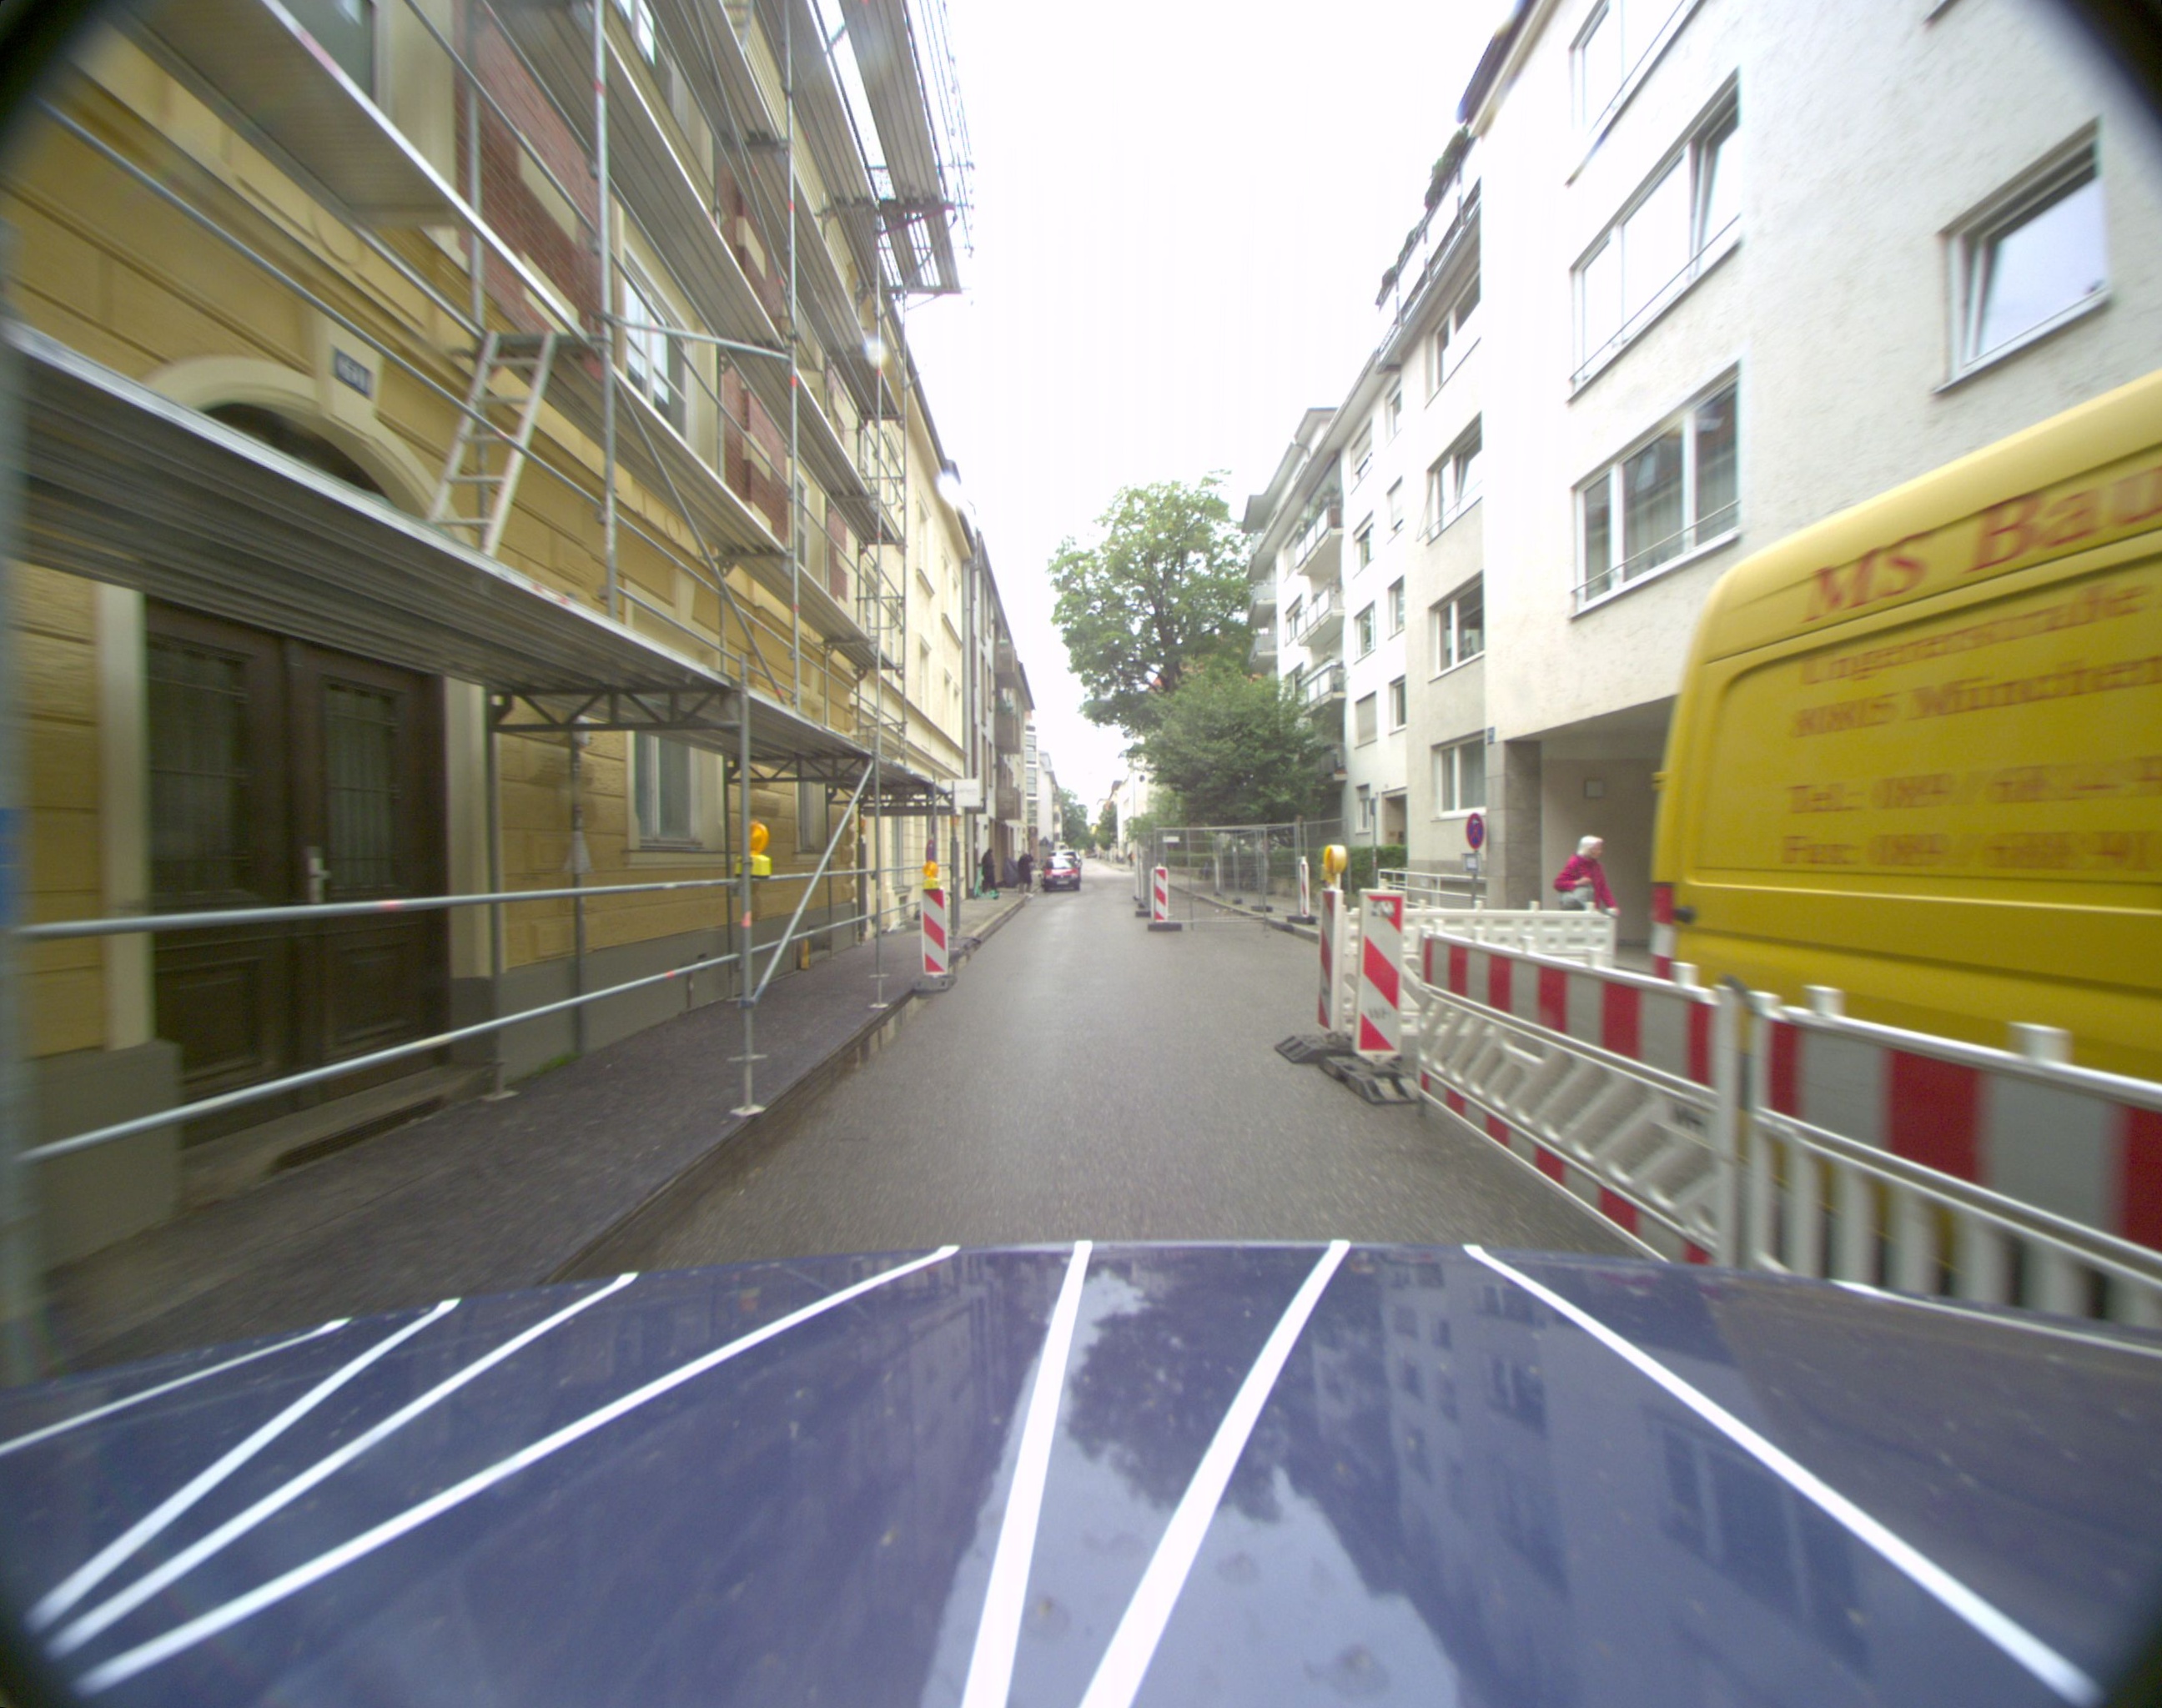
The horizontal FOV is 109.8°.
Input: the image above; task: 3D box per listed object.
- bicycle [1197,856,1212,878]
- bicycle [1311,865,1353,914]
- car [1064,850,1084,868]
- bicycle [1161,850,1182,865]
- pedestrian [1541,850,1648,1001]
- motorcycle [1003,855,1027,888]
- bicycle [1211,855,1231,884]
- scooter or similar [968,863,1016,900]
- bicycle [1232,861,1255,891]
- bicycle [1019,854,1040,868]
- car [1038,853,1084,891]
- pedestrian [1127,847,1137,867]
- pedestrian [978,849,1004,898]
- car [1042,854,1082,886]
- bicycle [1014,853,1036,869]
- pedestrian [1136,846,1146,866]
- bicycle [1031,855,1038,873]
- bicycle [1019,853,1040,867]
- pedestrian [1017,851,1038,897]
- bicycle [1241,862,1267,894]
[{"bbox_3d":[6.097,0.631,37.559,0.347,1.065,1.780,-5,0,0],"label":"bicycle"},{"bbox_3d":[6.012,0.825,18.271,0.378,1.057,1.597,-7,0,1],"label":"bicycle"},{"bbox_3d":[-0.680,0.460,72.318,1.725,1.606,4.454,-2,0,-2],"label":"car"},{"bbox_3d":[8.086,0.321,67.647,1.811,1.253,0.432,-1,1,-1],"label":"bicycle"},{"bbox_3d":[5.437,0.724,8.088,0.639,1.523,0.747,-1,1,2],"label":"pedestrian"},{"bbox_3d":[-2.986,0.763,34.564,0.807,1.415,1.932,3,0,1],"label":"motorcycle"},{"bbox_3d":[5.893,0.648,32.103,0.489,1.145,1.698,-4,1,1],"label":"bicycle"},{"bbox_3d":[-2.927,0.906,25.105,0.493,1.177,1.611,3,1,41],"label":"scooter or similar"},{"bbox_3d":[5.983,0.785,28.078,0.444,0.973,1.853,-4,1,1],"label":"bicycle"},{"bbox_3d":[-4.519,0.575,66.478,1.752,1.180,0.443,1,1,6],"label":"bicycle"},{"bbox_3d":[-0.836,0.760,34.333,1.776,1.515,4.066,-3,0,2],"label":"car"},{"bbox_3d":[4.628,0.282,69.164,0.722,1.718,0.841,-5,1,0],"label":"pedestrian"},{"bbox_3d":[-3.132,0.669,26.401,0.659,1.677,0.587,2,2,19],"label":"pedestrian"},{"bbox_3d":[-0.951,0.770,39.575,1.772,1.453,4.380,-3,0,2],"label":"car"},{"bbox_3d":[-4.839,0.604,65.766,1.807,1.315,0.586,-1,2,-25],"label":"bicycle"},{"bbox_3d":[5.434,0.158,69.303,0.695,1.718,0.841,-5,1,0],"label":"pedestrian"},{"bbox_3d":[-3.321,0.718,54.399,0.411,1.207,1.818,1,2,0],"label":"bicycle"},{"bbox_3d":[-4.666,0.540,68.587,1.872,1.222,0.594,0,2,29],"label":"bicycle"},{"bbox_3d":[-1.970,0.719,28.084,0.660,1.676,0.546,0,1,6],"label":"pedestrian"},{"bbox_3d":[5.952,0.807,26.212,0.444,0.973,1.815,-4,1,1],"label":"bicycle"}]
